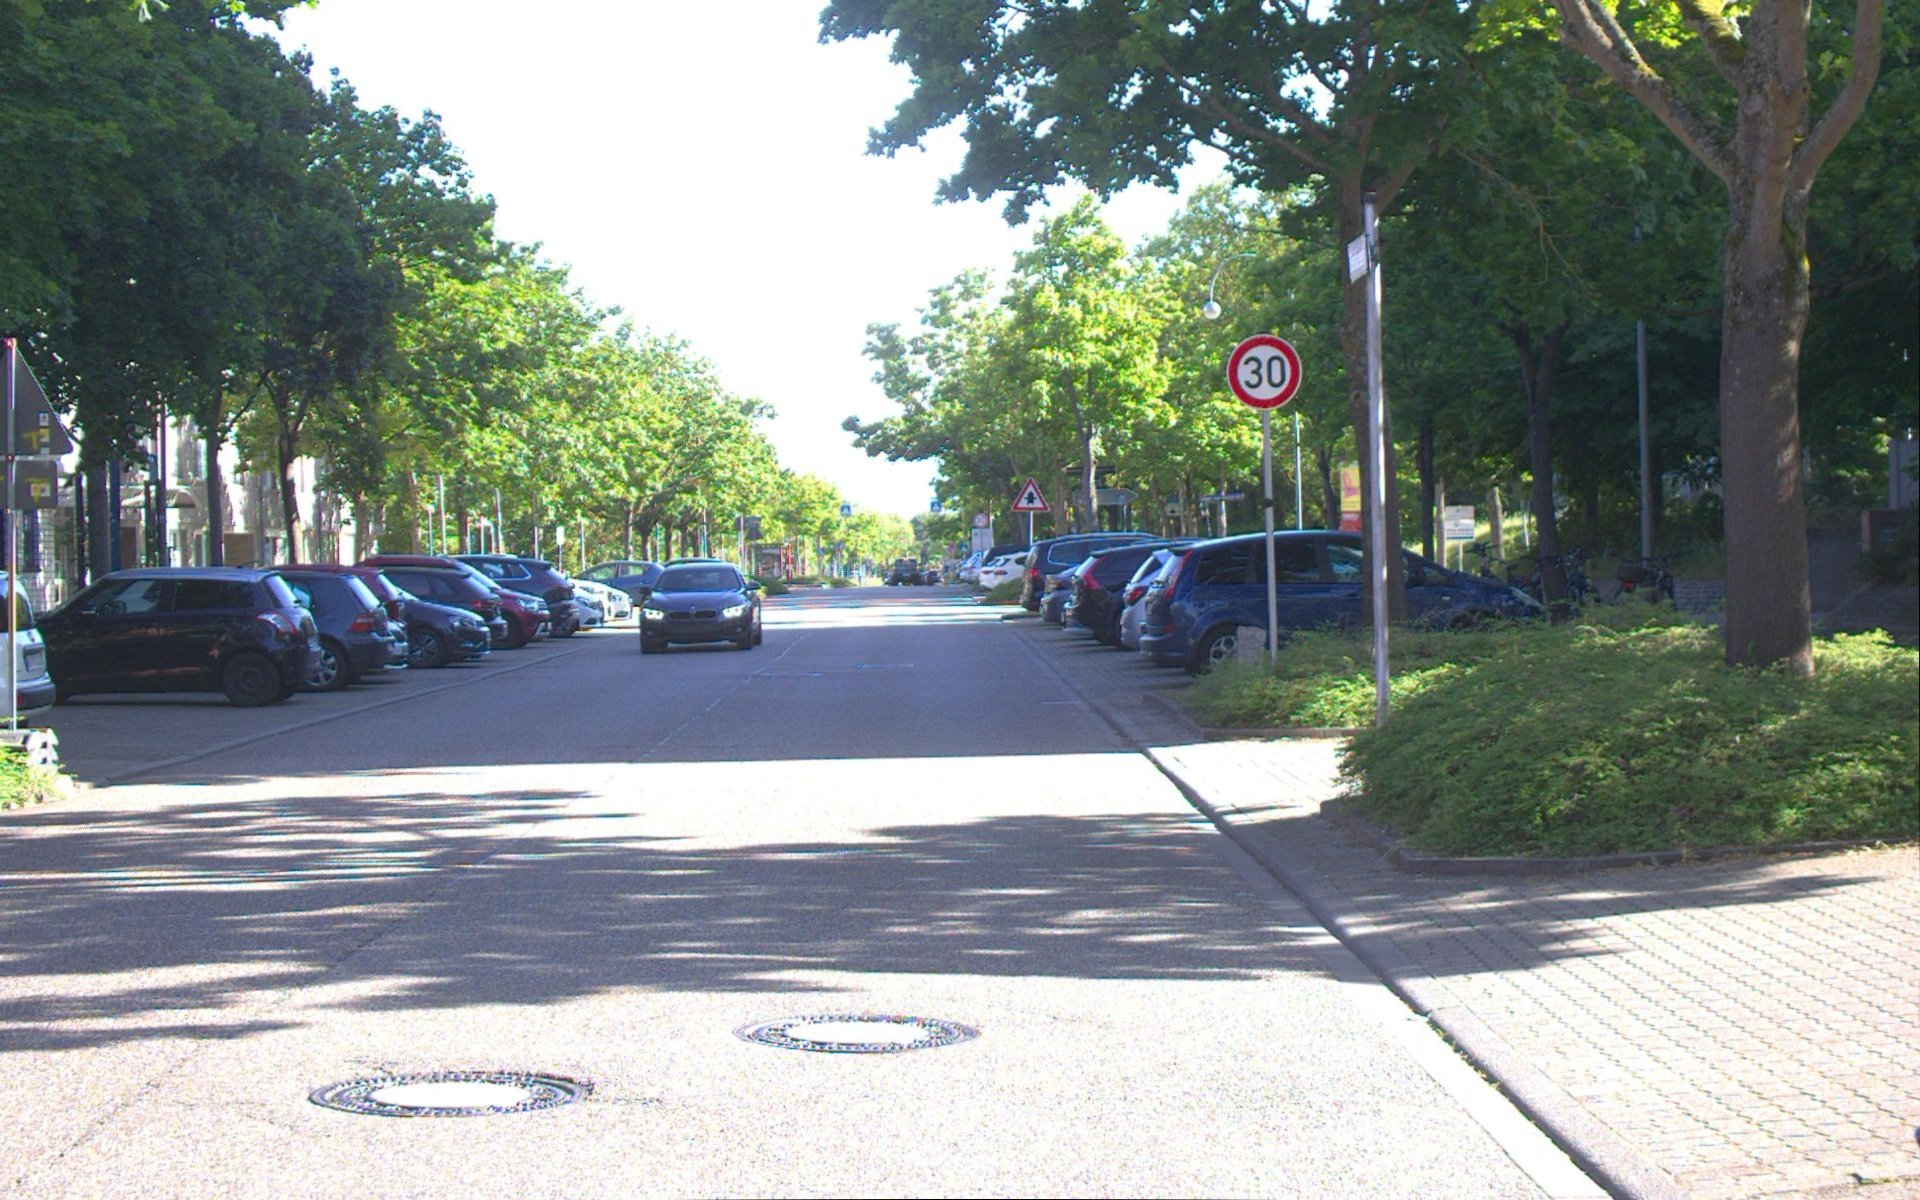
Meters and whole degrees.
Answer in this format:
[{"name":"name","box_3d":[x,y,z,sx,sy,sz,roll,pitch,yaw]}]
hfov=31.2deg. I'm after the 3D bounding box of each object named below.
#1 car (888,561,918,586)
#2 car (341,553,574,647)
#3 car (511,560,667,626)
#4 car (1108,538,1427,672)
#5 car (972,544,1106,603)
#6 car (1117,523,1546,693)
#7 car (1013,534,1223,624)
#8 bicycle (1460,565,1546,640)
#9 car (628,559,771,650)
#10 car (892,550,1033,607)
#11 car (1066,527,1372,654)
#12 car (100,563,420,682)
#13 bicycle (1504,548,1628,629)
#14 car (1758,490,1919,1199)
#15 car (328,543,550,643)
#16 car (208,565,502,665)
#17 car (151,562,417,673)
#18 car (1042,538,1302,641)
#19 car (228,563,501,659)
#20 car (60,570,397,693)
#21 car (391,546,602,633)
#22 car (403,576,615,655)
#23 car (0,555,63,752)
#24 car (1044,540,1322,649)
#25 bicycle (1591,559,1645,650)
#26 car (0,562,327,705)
[{"name":"car","box_3d":[-3.815,-1.765,230.095,1.933,1.592,4.366,-1,1,-1]},{"name":"car","box_3d":[-9.290,0.010,63.748,3.987,1.581,1.765,-2,-1,3]},{"name":"car","box_3d":[-10.143,-0.204,94.181,3.987,1.648,1.860,-2,1,2]},{"name":"car","box_3d":[3.746,0.058,42.211,3.635,1.462,1.633,-2,0,-4]},{"name":"car","box_3d":[2.476,-0.829,108.603,3.986,1.786,2.000,-1,0,-5]},{"name":"car","box_3d":[3.919,0.071,36.742,4.267,1.628,1.858,-2,0,-3]},{"name":"car","box_3d":[3.096,-0.420,68.020,3.892,1.650,1.858,-2,0,-5]},{"name":"bicycle","box_3d":[7.963,0.033,50.500,0.379,1.074,1.788,-1,1,-21]},{"name":"car","box_3d":[-4.222,0.047,56.279,1.813,1.410,4.107,-1,1,3]},{"name":"car","box_3d":[0.068,-0.650,102.013,3.986,1.619,2.000,-1,0,-5]},{"name":"car","box_3d":[3.750,-0.146,49.860,4.249,1.549,1.919,-4,0,4]},{"name":"car","box_3d":[-9.049,0.277,44.680,3.865,1.452,1.755,0,2,-3]},{"name":"bicycle","box_3d":[8.181,-0.156,46.466,0.379,1.074,1.786,-1,1,-42]},{"name":"car","box_3d":[4.047,0.448,6.746,4.405,1.613,1.912,-4,1,-1]},{"name":"car","box_3d":[-9.021,-0.125,59.737,3.541,1.651,1.761,-1,0,1]},{"name":"car","box_3d":[-8.708,0.211,49.676,3.986,1.408,1.666,0,0,-2]},{"name":"car","box_3d":[-9.242,0.227,47.204,3.418,1.458,1.697,0,1,-5]},{"name":"car","box_3d":[3.443,-0.171,56.272,4.043,1.486,1.550,-2,0,-3]},{"name":"car","box_3d":[-8.990,0.168,52.120,3.986,1.401,1.606,1,0,-7]},{"name":"car","box_3d":[-8.891,0.371,41.998,3.762,1.440,1.631,1,0,0]},{"name":"car","box_3d":[-9.503,-0.232,70.646,3.987,1.648,1.860,-2,1,2]},{"name":"car","box_3d":[-8.740,0.290,66.835,3.892,1.459,1.858,-1,0,-1]},{"name":"car","box_3d":[-9.222,0.471,27.746,3.580,1.544,1.637,-1,-2,-3]},{"name":"car","box_3d":[3.432,-0.097,53.244,4.043,1.585,1.550,-1,1,-7]},{"name":"bicycle","box_3d":[7.870,0.040,41.158,0.379,1.043,1.884,-3,0,5]},{"name":"car","box_3d":[-8.900,0.352,37.357,3.732,1.459,1.677,-1,0,-1]}]
